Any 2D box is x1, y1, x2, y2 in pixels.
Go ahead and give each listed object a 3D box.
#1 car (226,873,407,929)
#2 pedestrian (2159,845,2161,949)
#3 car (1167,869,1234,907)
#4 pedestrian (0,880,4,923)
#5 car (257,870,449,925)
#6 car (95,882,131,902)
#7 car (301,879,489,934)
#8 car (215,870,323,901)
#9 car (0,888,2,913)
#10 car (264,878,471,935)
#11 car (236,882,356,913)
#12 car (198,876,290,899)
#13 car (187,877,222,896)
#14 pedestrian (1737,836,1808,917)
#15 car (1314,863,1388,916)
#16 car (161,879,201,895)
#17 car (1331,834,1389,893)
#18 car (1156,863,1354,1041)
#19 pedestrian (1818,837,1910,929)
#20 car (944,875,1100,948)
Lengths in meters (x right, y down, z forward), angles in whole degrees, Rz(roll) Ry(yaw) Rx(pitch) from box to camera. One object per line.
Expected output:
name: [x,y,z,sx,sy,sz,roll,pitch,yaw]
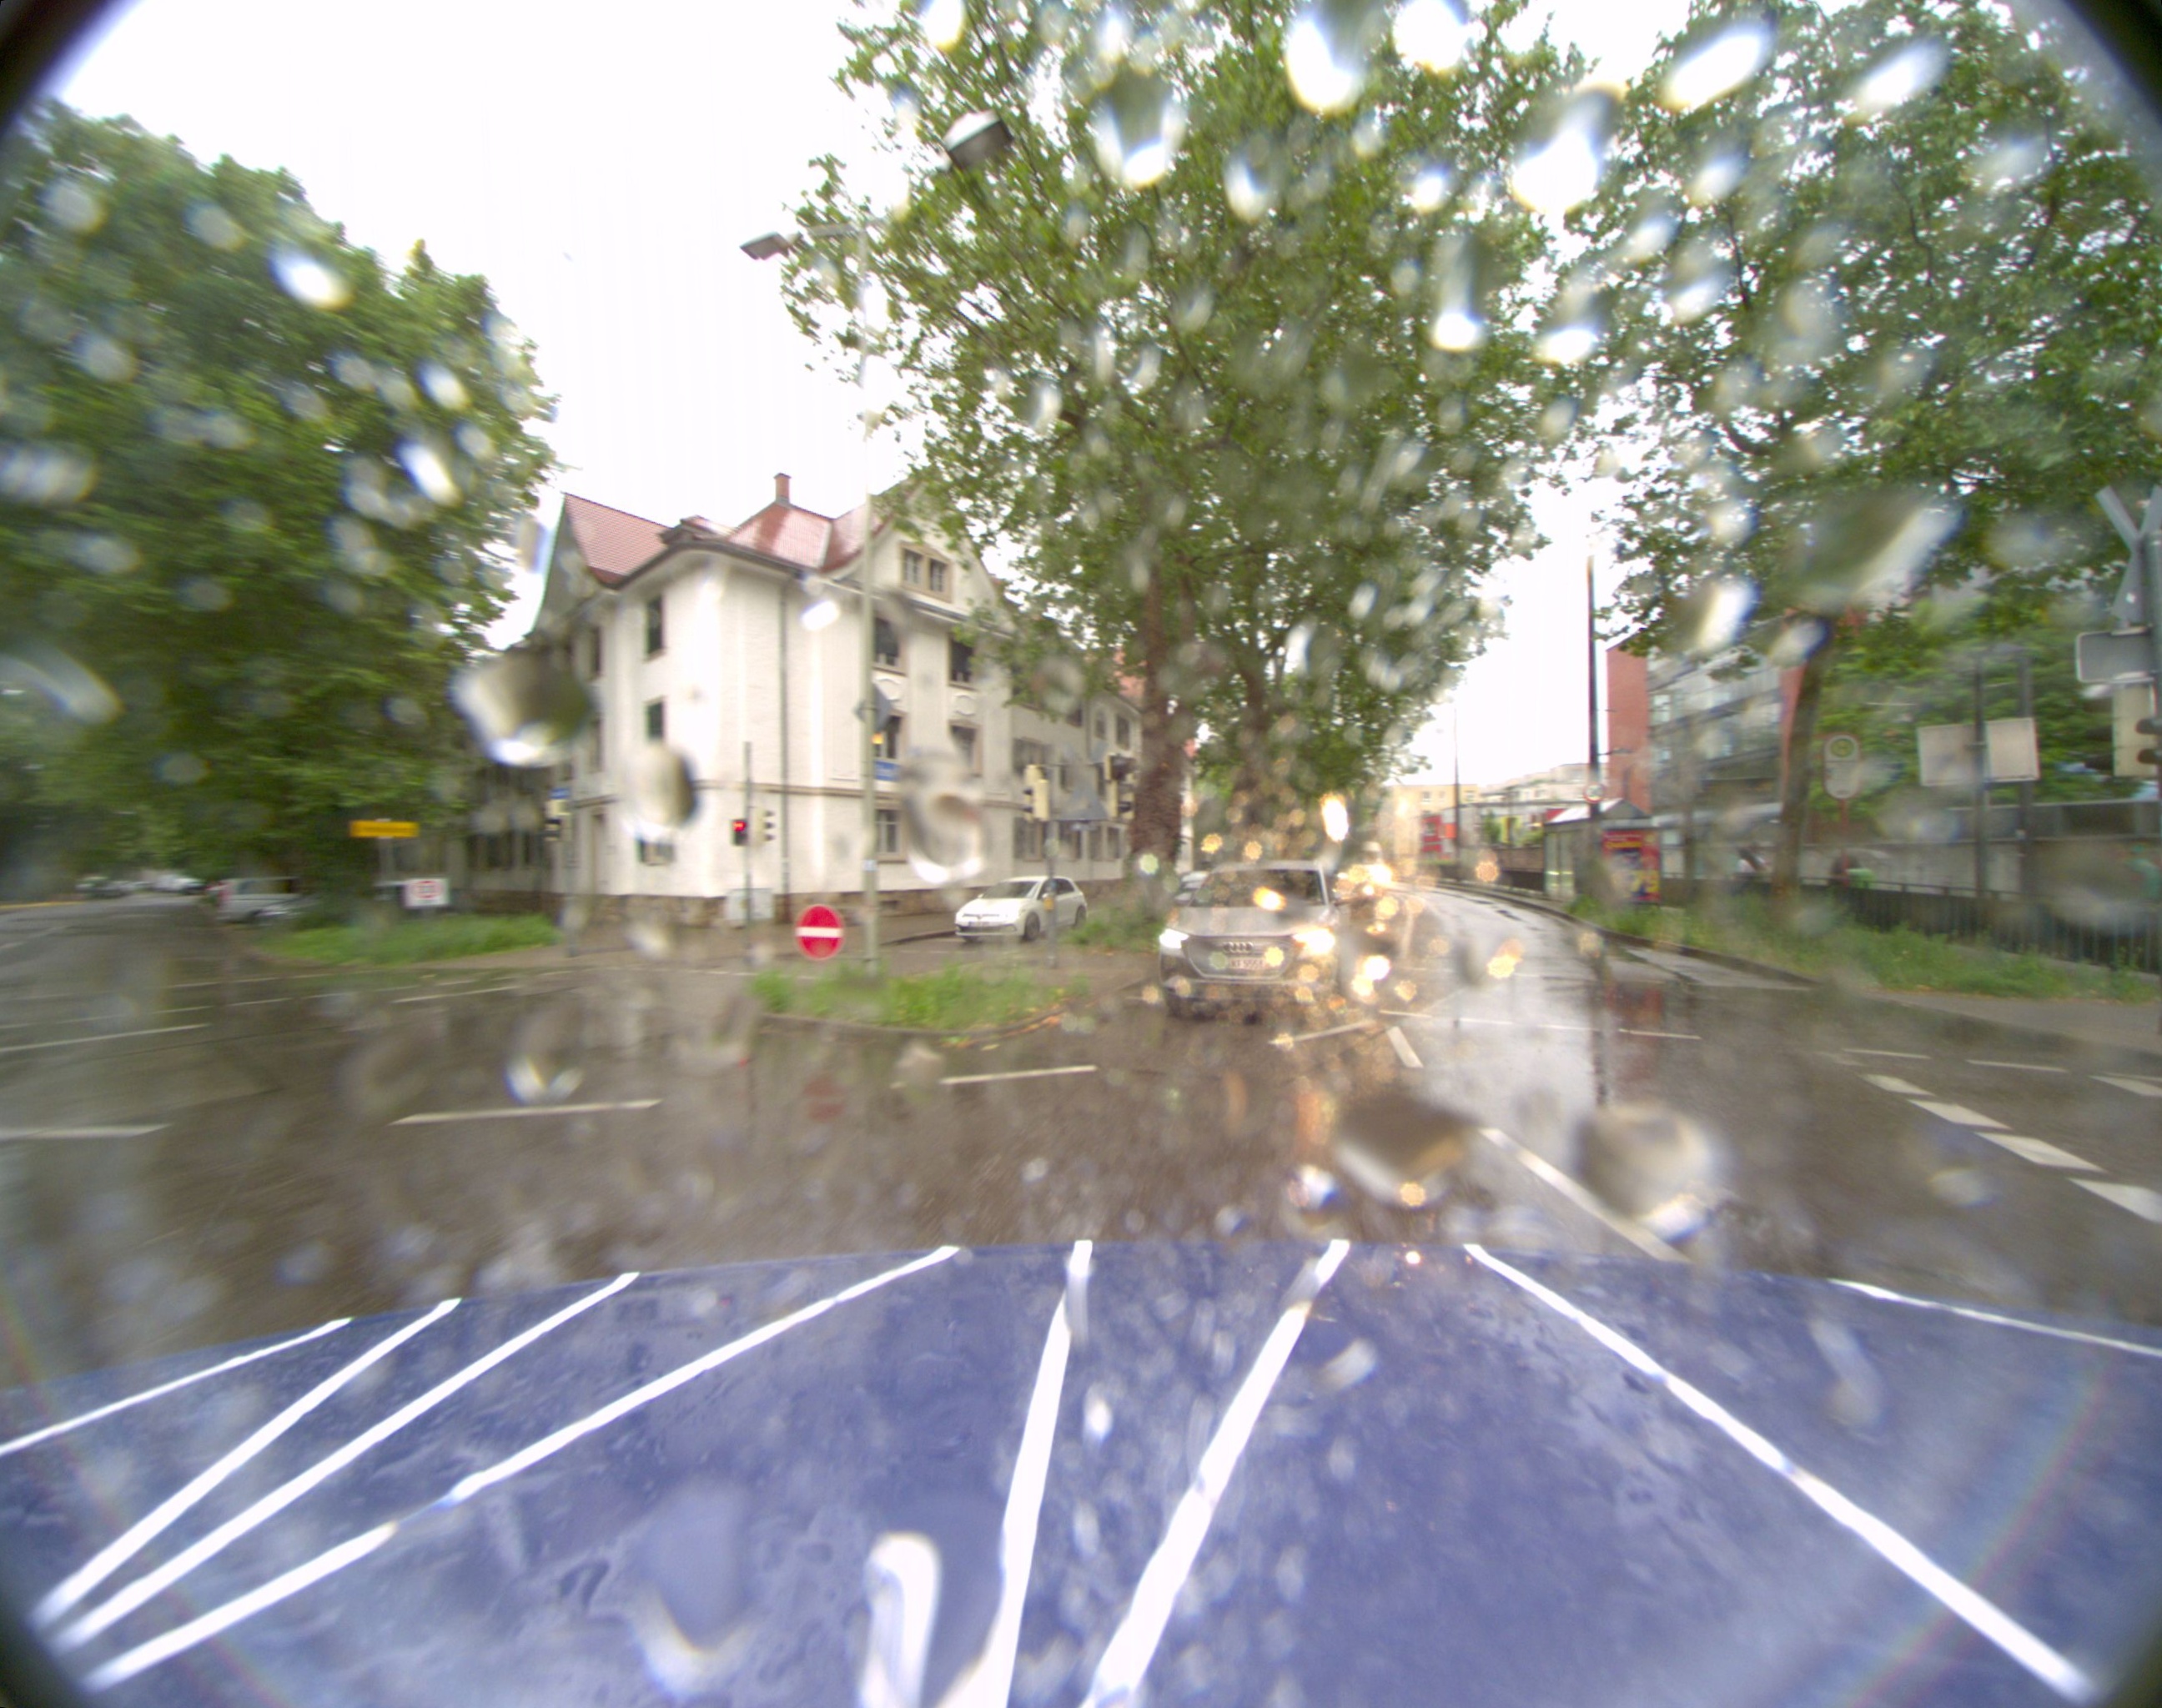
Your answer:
car: [-28.706,1.686,28.646,2.028,1.862,4.682,-2,-1,41]
pedestrian: [13.010,0.720,8.415,0.859,1.678,0.850,-1,-1,12]
car: [5.258,1.466,33.186,1.925,1.412,3.671,-4,-2,24]
pedestrian: [-51.533,2.235,35.676,1.077,2.050,0.946,-1,-1,44]
car: [-25.353,1.449,26.593,2.028,1.680,4.682,-2,-1,41]
car: [-93.810,3.687,73.609,4.338,1.795,2.004,-2,0,37]
car: [-21.056,1.553,23.483,1.792,1.346,4.008,-2,0,37]
car: [-56.989,2.143,53.390,2.028,2.011,5.101,-2,-1,41]
car: [-64.991,2.786,44.301,3.989,1.530,2.004,-2,0,40]
car: [-23.335,1.650,25.036,1.925,1.612,4.751,-2,-1,39]
car: [-43.531,2.374,42.224,2.028,1.561,4.540,-2,-1,41]
car: [-63.743,2.506,57.937,2.028,1.595,4.682,-2,-1,41]
car: [-90.511,3.341,78.475,3.989,1.795,2.004,-2,0,36]
pedestrian: [15.913,0.518,17.507,0.859,1.821,0.850,-1,-1,12]
car: [8.089,1.019,23.058,1.851,1.435,4.006,-1,-1,16]
car: [-94.799,3.461,80.030,3.686,1.613,2.004,-2,0,29]
car: [13.228,0.402,35.770,2.279,2.547,6.521,-1,0,22]
car: [2.302,0.934,9.125,1.806,1.611,4.144,-1,-1,20]
pedestrian: [14.786,0.549,14.380,0.859,1.678,0.850,-1,-1,12]
car: [-1.281,1.329,18.651,1.778,1.424,4.407,-3,-1,26]
